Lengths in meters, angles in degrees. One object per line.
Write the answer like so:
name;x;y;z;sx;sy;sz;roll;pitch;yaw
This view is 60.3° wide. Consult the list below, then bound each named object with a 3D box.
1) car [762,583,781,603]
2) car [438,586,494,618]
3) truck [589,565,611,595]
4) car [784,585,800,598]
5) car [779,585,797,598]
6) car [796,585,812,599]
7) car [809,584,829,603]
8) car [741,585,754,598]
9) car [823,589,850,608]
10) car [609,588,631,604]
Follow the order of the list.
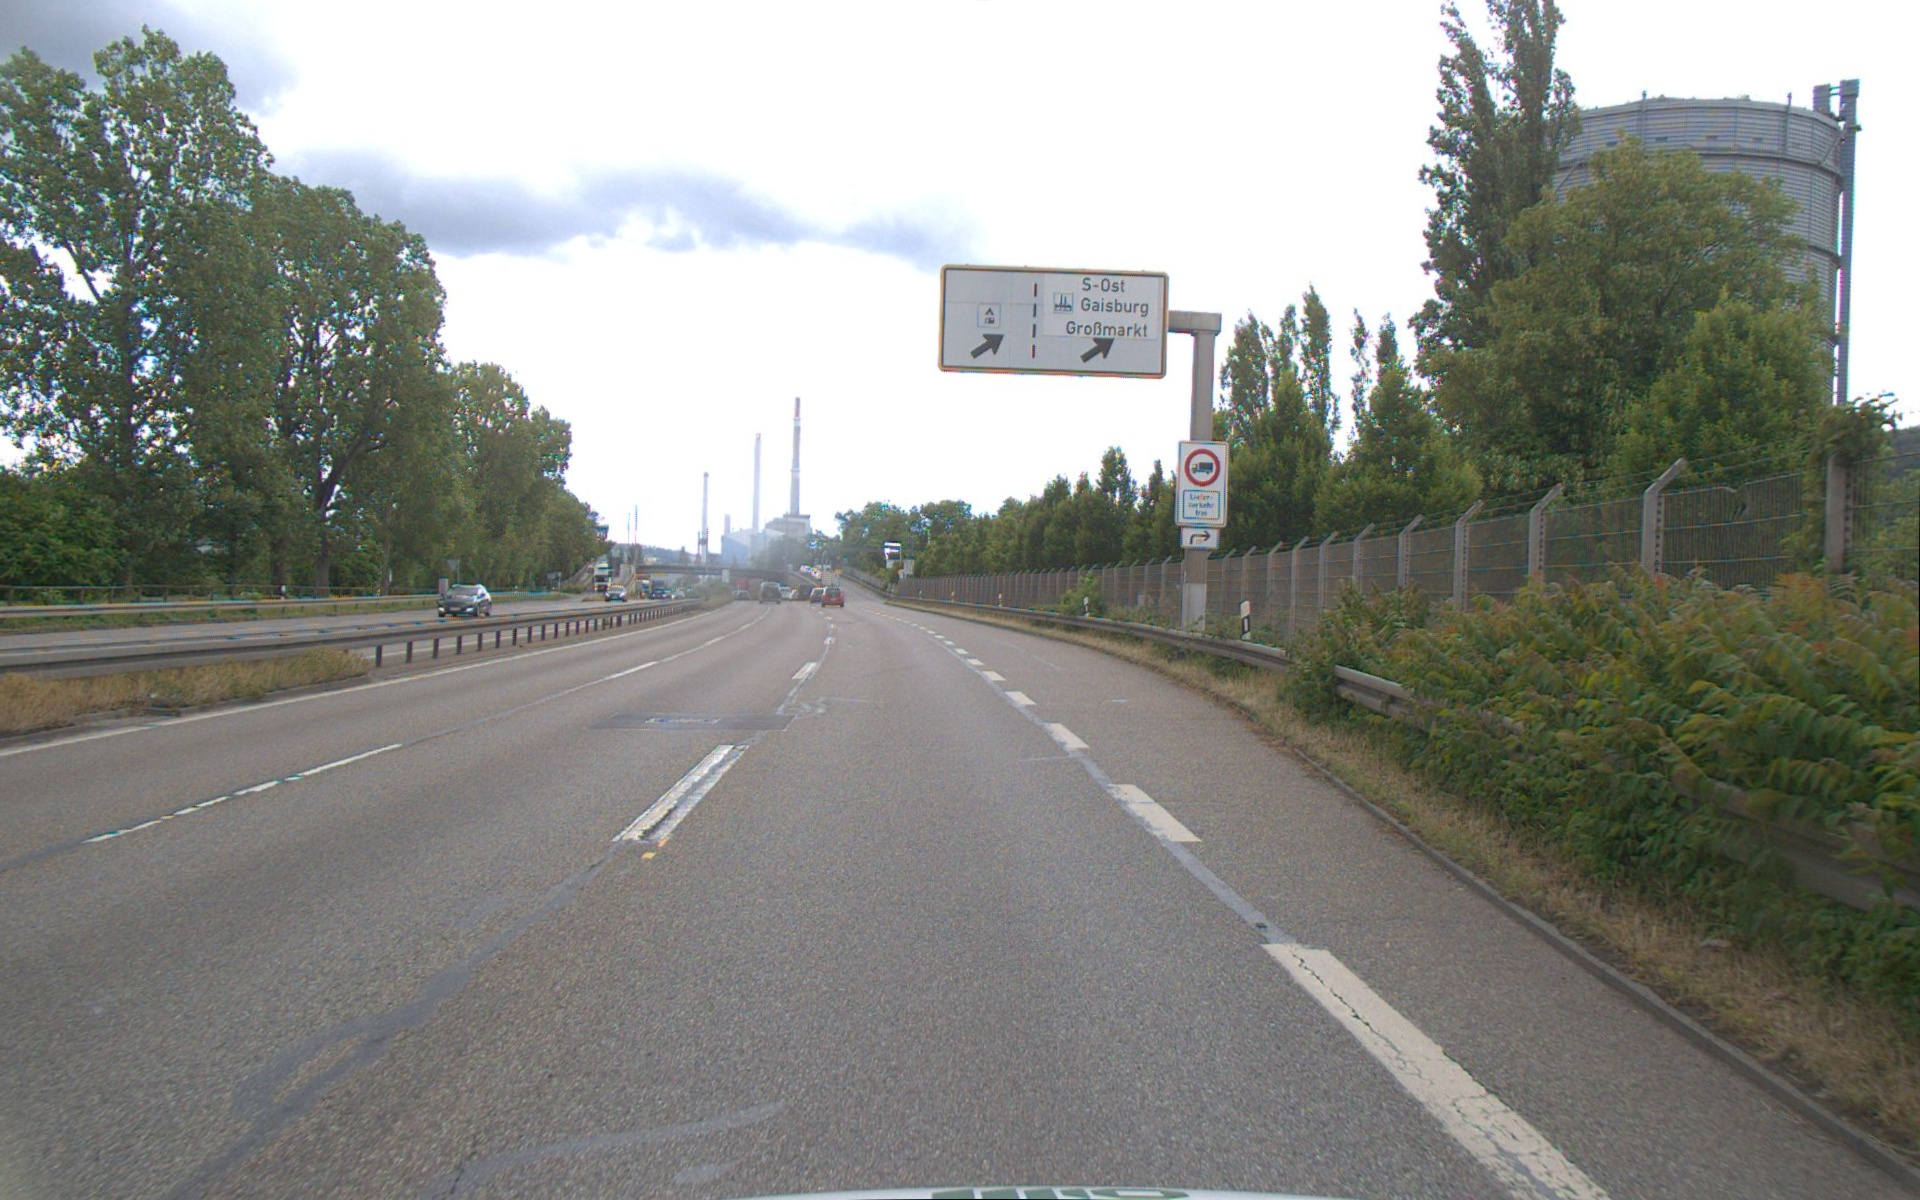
car;-16.850;-0.660;147.601;1.665;1.772;3.994;0;1;-7
car;-23.341;0.054;78.301;1.665;1.438;4.632;0;1;-6
truck;-53.500;-2.998;246.081;2.838;4.237;14.616;2;1;-12
car;-21.867;-1.122;215.332;1.667;1.582;4.387;0;1;-11
car;-18.472;-0.935;177.764;1.666;1.414;4.389;0;1;-9
car;-18.210;-0.977;193.142;1.666;1.582;4.389;0;1;-9
car;-13.201;-0.636;154.332;1.665;1.772;4.386;0;1;-8
car;-30.051;-1.198;233.897;1.667;1.772;4.381;0;1;-11
car;-9.521;-0.131;127.363;1.936;1.448;4.894;0;1;-6
car;-31.160;-0.408;151.656;1.666;1.438;4.630;0;1;-8
